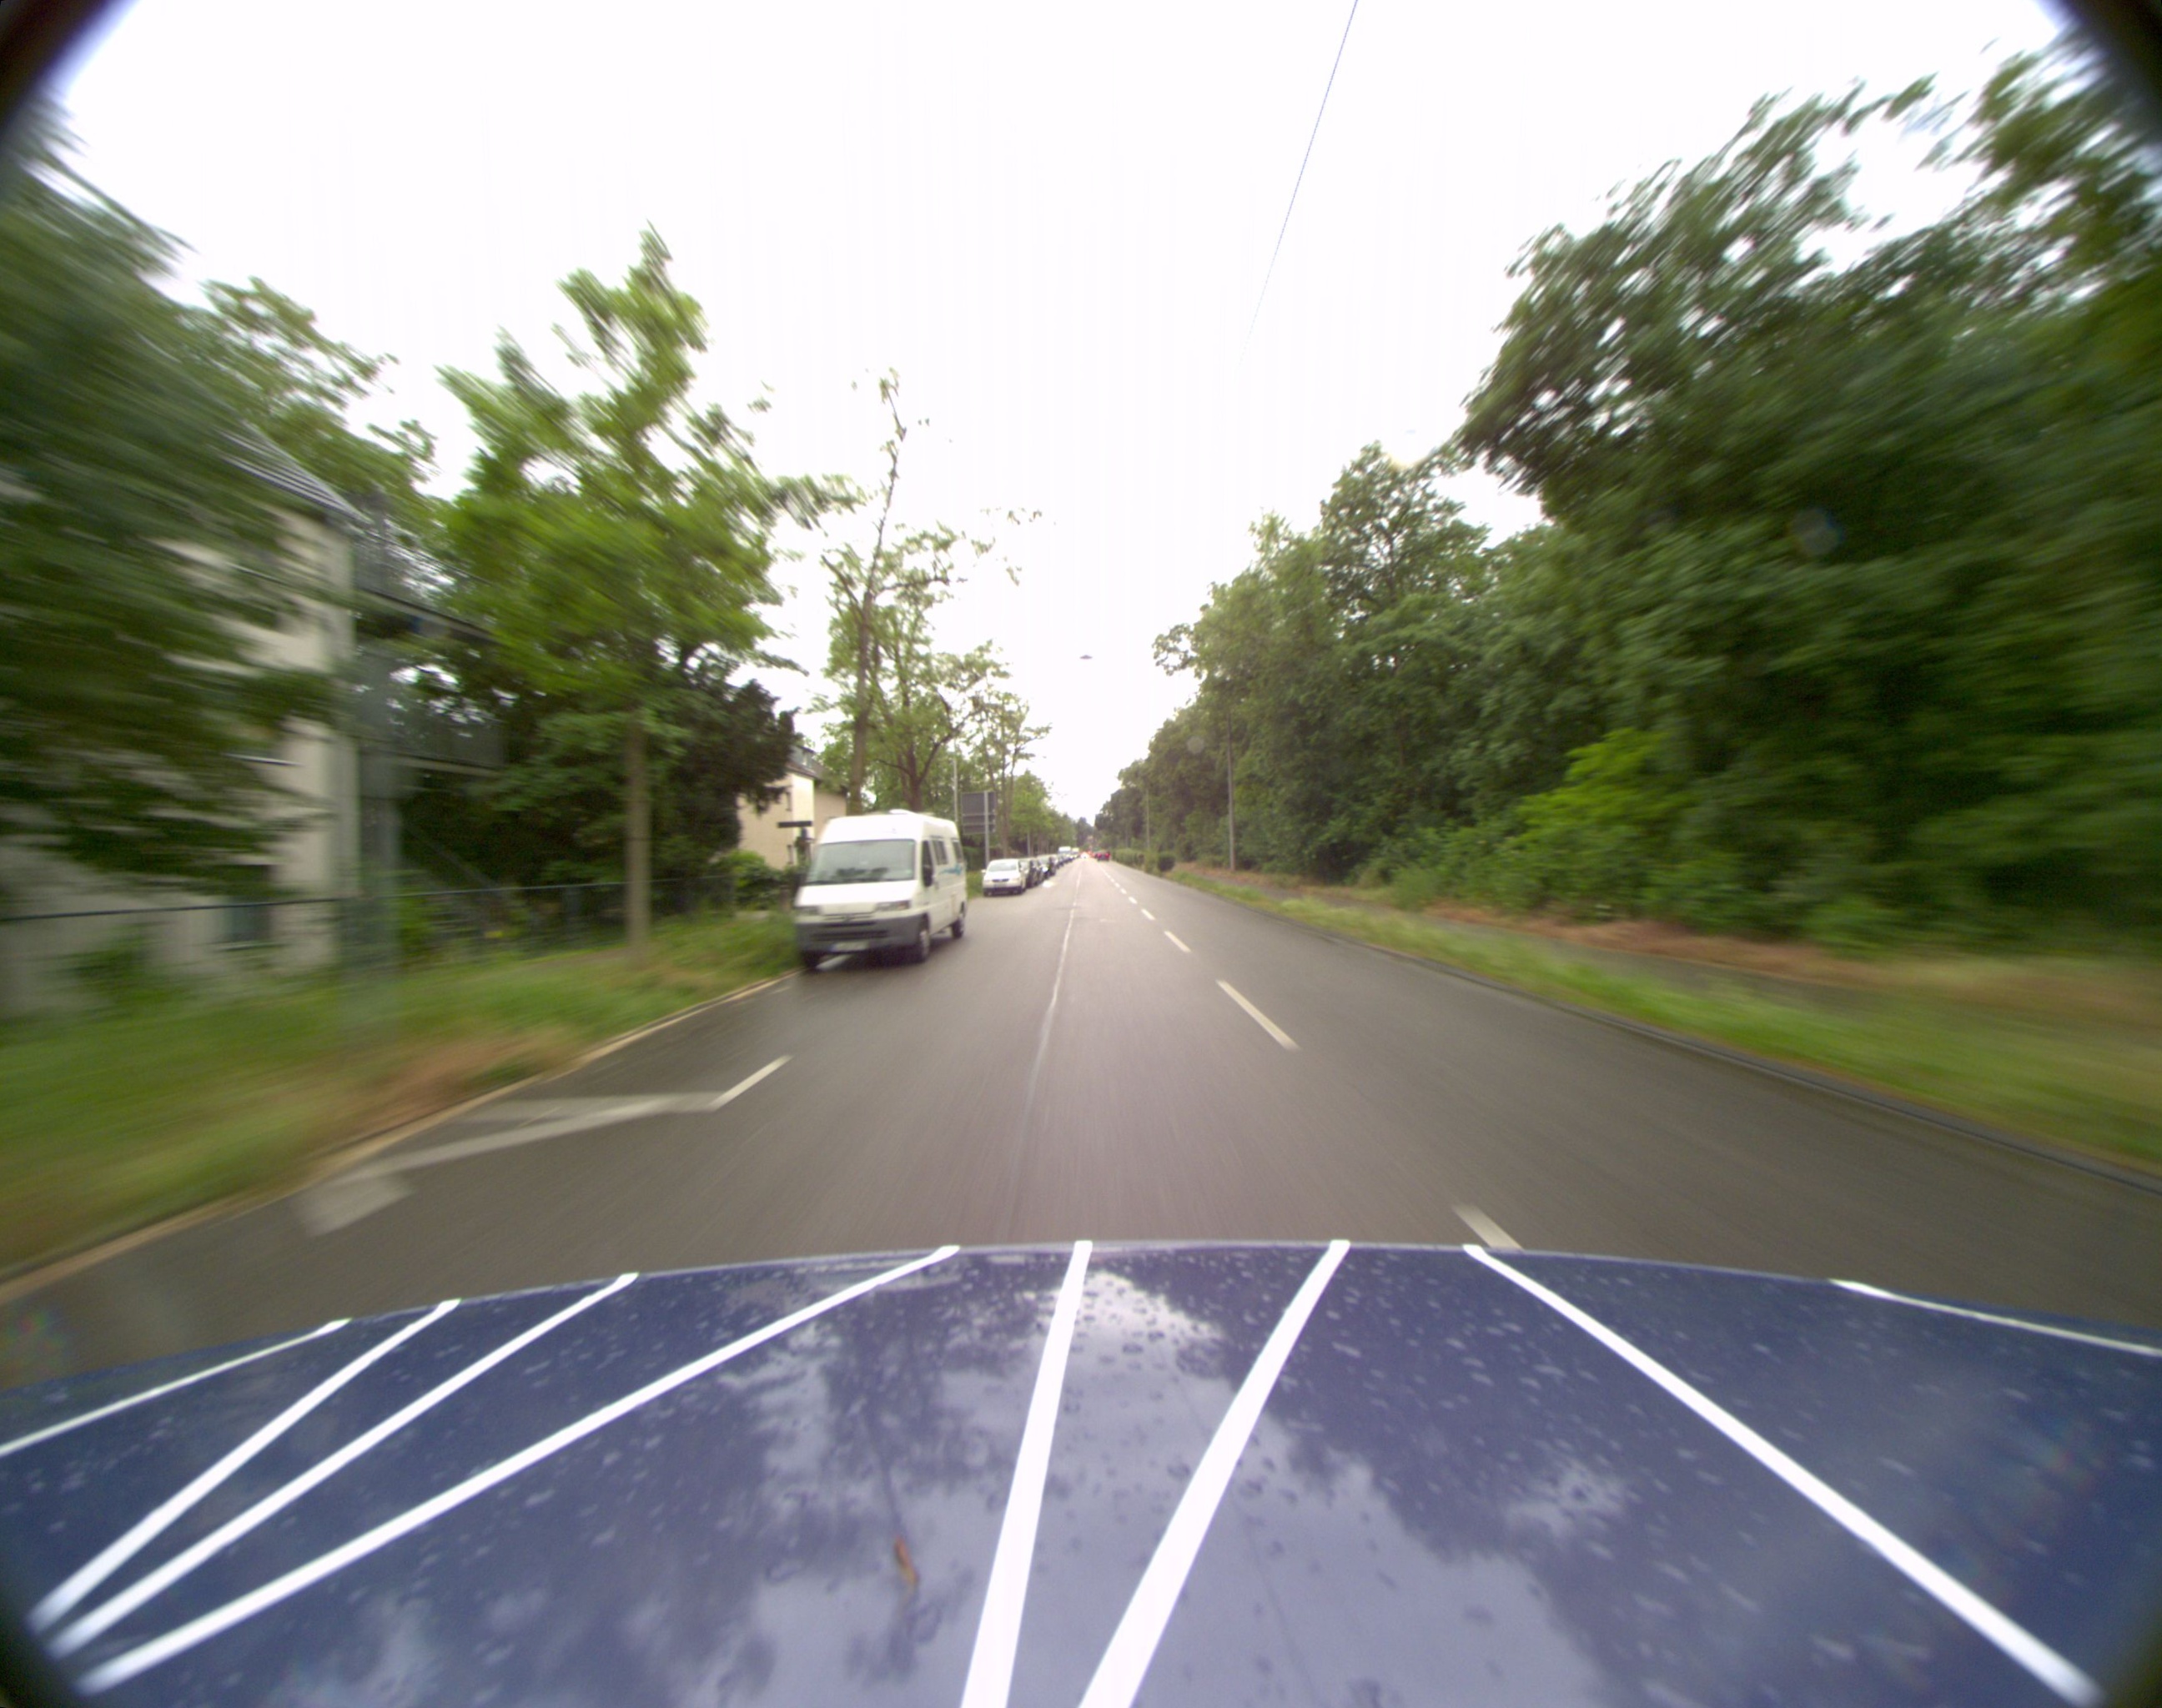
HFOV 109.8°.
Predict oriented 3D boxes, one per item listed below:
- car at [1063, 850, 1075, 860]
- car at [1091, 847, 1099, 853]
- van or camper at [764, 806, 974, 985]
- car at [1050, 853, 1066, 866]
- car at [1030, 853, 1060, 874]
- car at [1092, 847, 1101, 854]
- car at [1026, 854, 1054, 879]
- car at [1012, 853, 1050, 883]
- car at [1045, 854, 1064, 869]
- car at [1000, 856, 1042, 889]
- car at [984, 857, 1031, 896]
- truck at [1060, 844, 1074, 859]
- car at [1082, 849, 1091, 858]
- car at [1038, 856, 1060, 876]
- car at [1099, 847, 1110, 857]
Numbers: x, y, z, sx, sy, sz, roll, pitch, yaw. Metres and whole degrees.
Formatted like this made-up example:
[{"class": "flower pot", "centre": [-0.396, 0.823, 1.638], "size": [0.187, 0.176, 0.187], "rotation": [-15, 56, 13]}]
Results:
[{"class": "car", "centre": [-1.754, 0.121, 111.893], "size": [1.789, 1.452, 3.999], "rotation": [-1, 1, -1]}, {"class": "car", "centre": [3.472, -0.958, 193.133], "size": [1.999, 1.543, 3.999], "rotation": [-1, 1, 0]}, {"class": "van or camper", "centre": [-3.468, 0.587, 13.859], "size": [2.042, 2.465, 5.638], "rotation": [-4, 0, 0]}, {"class": "car", "centre": [-2.669, 0.674, 89.696], "size": [1.675, 1.420, 3.699], "rotation": [-3, 1, 0]}, {"class": "car", "centre": [-2.634, 0.683, 56.040], "size": [1.732, 1.402, 4.000], "rotation": [-3, 1, 4]}, {"class": "car", "centre": [3.272, -0.688, 164.105], "size": [1.851, 1.490, 3.999], "rotation": [-1, 1, -1]}, {"class": "car", "centre": [-2.701, 0.798, 50.700], "size": [1.621, 1.459, 4.409], "rotation": [-3, 0, -1]}, {"class": "car", "centre": [-2.918, 0.792, 44.939], "size": [1.757, 1.517, 4.822], "rotation": [-3, 0, 1]}, {"class": "car", "centre": [-2.694, 0.754, 77.477], "size": [1.675, 1.420, 3.699], "rotation": [-3, 1, 0]}, {"class": "car", "centre": [-3.032, 0.899, 38.992], "size": [1.621, 1.462, 3.944], "rotation": [-3, 1, 2]}, {"class": "car", "centre": [-3.145, 0.949, 33.132], "size": [1.575, 1.463, 3.764], "rotation": [-3, 1, 1]}, {"class": "truck", "centre": [-2.325, -0.378, 124.082], "size": [2.230, 2.322, 5.113], "rotation": [-1, 1, -1]}, {"class": "car", "centre": [1.373, -0.069, 186.407], "size": [1.998, 2.002, 3.999], "rotation": [-3, 1, 2]}, {"class": "car", "centre": [-2.537, 0.937, 61.083], "size": [1.601, 1.508, 2.801], "rotation": [-3, 1, 0]}, {"class": "car", "centre": [3.769, -0.340, 121.852], "size": [1.680, 1.608, 4.061], "rotation": [-1, 1, 0]}]
